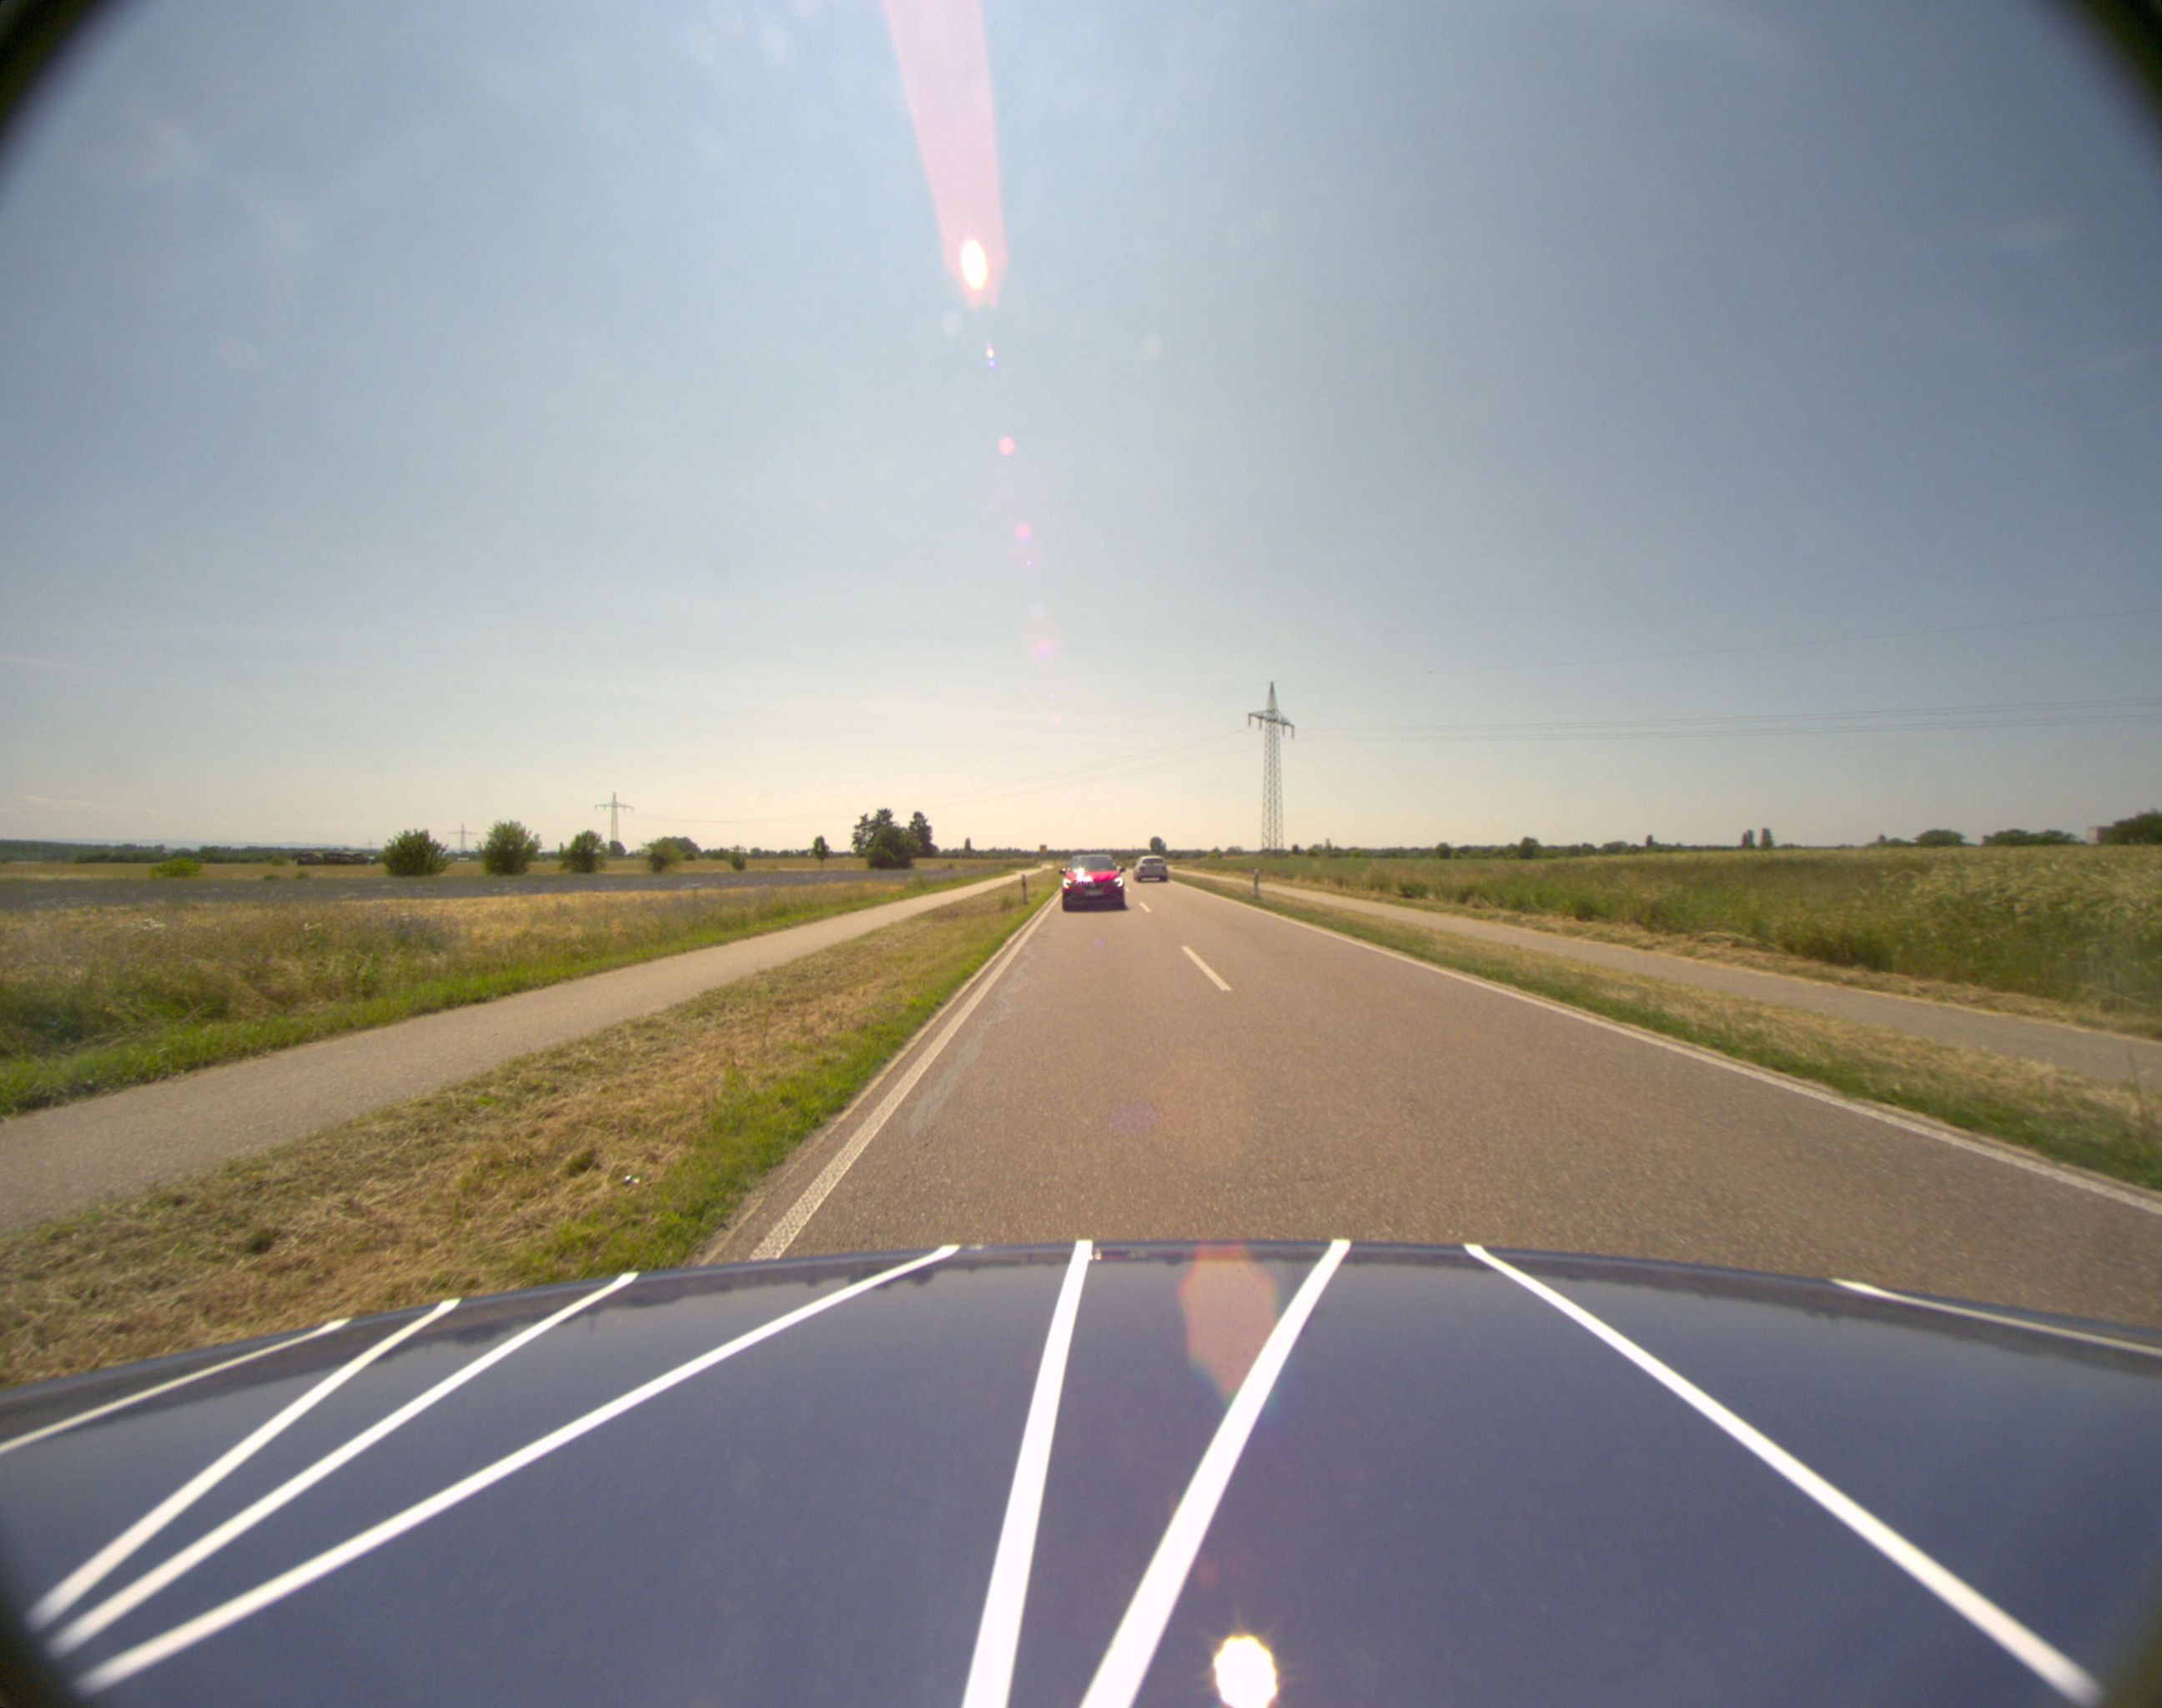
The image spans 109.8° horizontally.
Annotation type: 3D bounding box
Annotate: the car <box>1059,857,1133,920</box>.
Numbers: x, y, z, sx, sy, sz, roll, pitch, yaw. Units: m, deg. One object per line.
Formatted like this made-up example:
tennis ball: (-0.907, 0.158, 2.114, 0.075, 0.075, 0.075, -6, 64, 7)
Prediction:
car: (0.319, 0.873, 21.429, 1.827, 1.543, 4.448, -2, 0, -2)

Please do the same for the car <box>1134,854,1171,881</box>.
car: (4.017, 0.726, 43.296, 1.752, 1.392, 4.032, -1, 1, 1)
